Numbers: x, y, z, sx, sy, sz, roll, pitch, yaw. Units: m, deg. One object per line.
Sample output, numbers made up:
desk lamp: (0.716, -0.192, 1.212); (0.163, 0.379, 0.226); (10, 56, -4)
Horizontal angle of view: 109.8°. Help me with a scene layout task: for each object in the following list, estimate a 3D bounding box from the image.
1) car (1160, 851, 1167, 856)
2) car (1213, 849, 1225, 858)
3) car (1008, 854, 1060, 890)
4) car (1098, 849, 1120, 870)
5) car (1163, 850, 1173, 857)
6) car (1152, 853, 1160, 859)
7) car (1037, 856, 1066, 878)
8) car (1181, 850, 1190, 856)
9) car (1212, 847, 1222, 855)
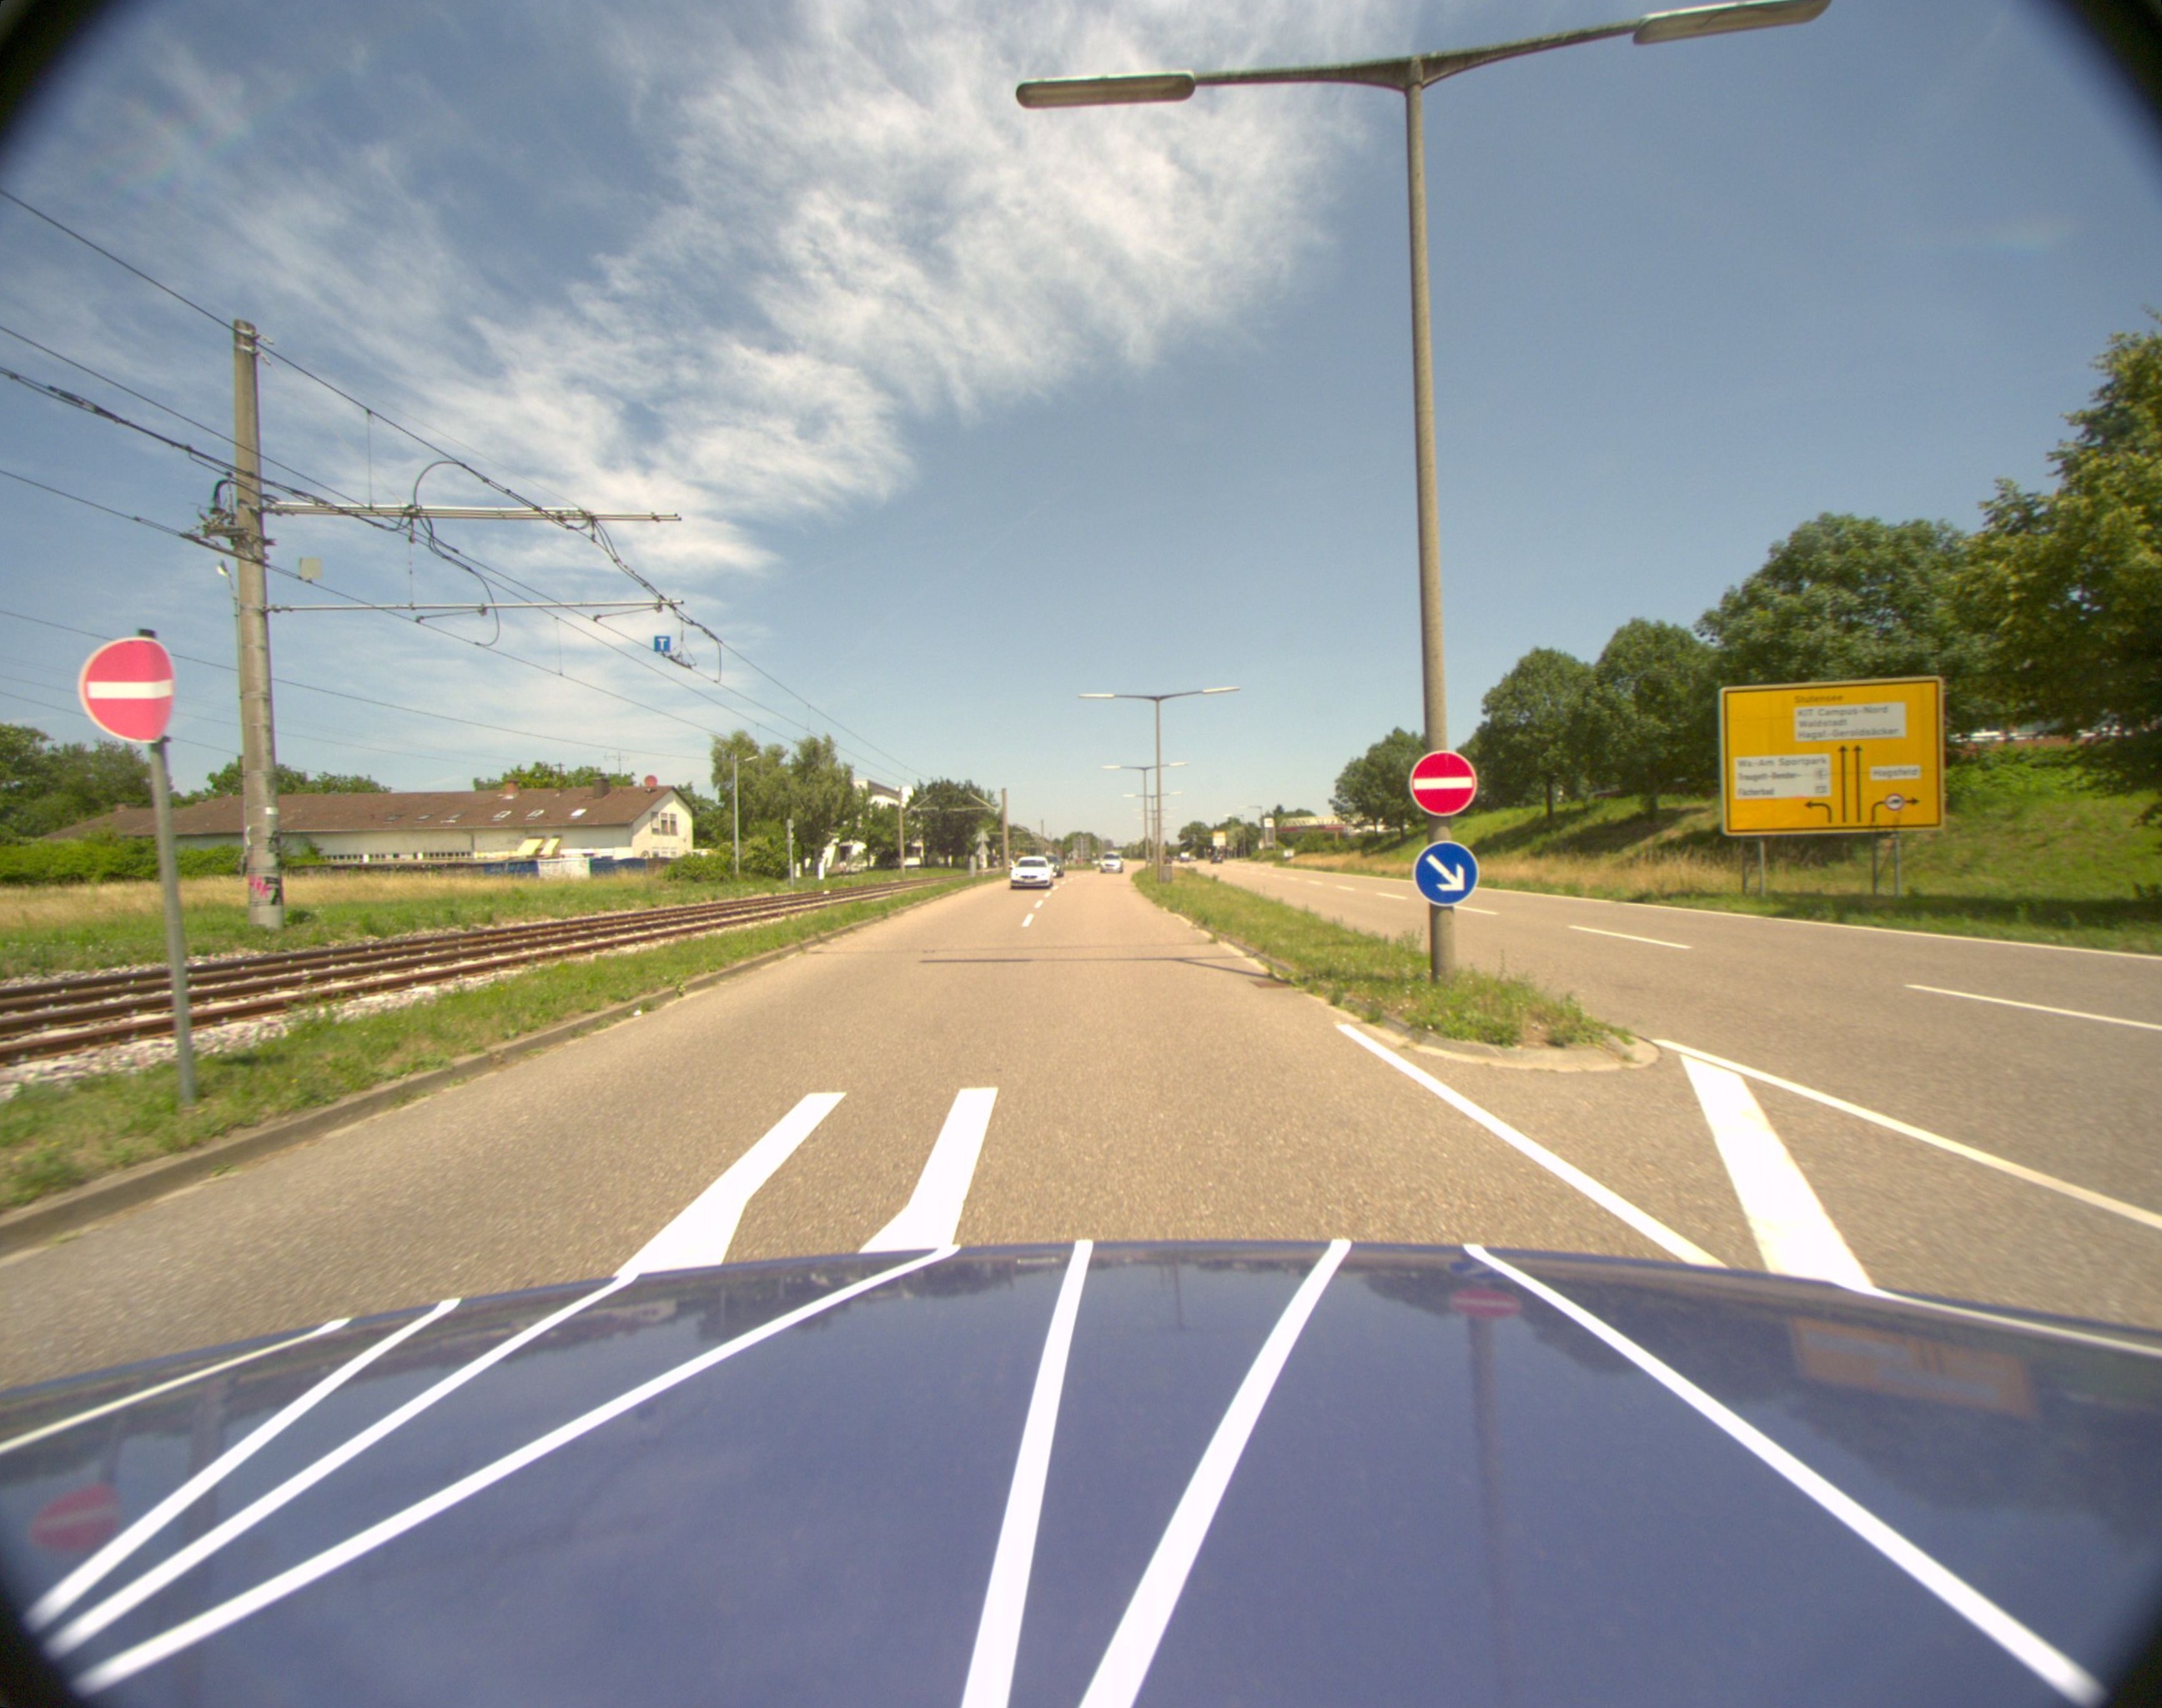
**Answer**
car: (21.839, -0.135, 200.742); (1.618, 1.386, 3.600); (-2, 1, 1)
car: (22.449, -0.035, 123.767); (1.620, 1.346, 3.516); (-2, 1, 7)
car: (-2.111, 0.796, 35.266); (1.771, 1.434, 4.130); (-2, 1, 4)
car: (2.565, 0.491, 69.203); (1.883, 1.687, 3.788); (-2, 1, 2)
car: (17.707, -0.062, 154.719); (1.618, 1.386, 3.600); (-2, 1, 1)
car: (17.639, 0.485, 179.447); (1.618, 1.386, 3.600); (-2, 1, 1)
car: (-1.956, 0.821, 51.281); (1.646, 1.303, 3.786); (-2, 1, 1)
car: (23.077, -0.230, 168.084); (1.618, 1.386, 3.600); (-2, 1, 1)
car: (29.491, -0.647, 164.623); (1.652, 1.577, 3.820); (-2, 1, 3)
